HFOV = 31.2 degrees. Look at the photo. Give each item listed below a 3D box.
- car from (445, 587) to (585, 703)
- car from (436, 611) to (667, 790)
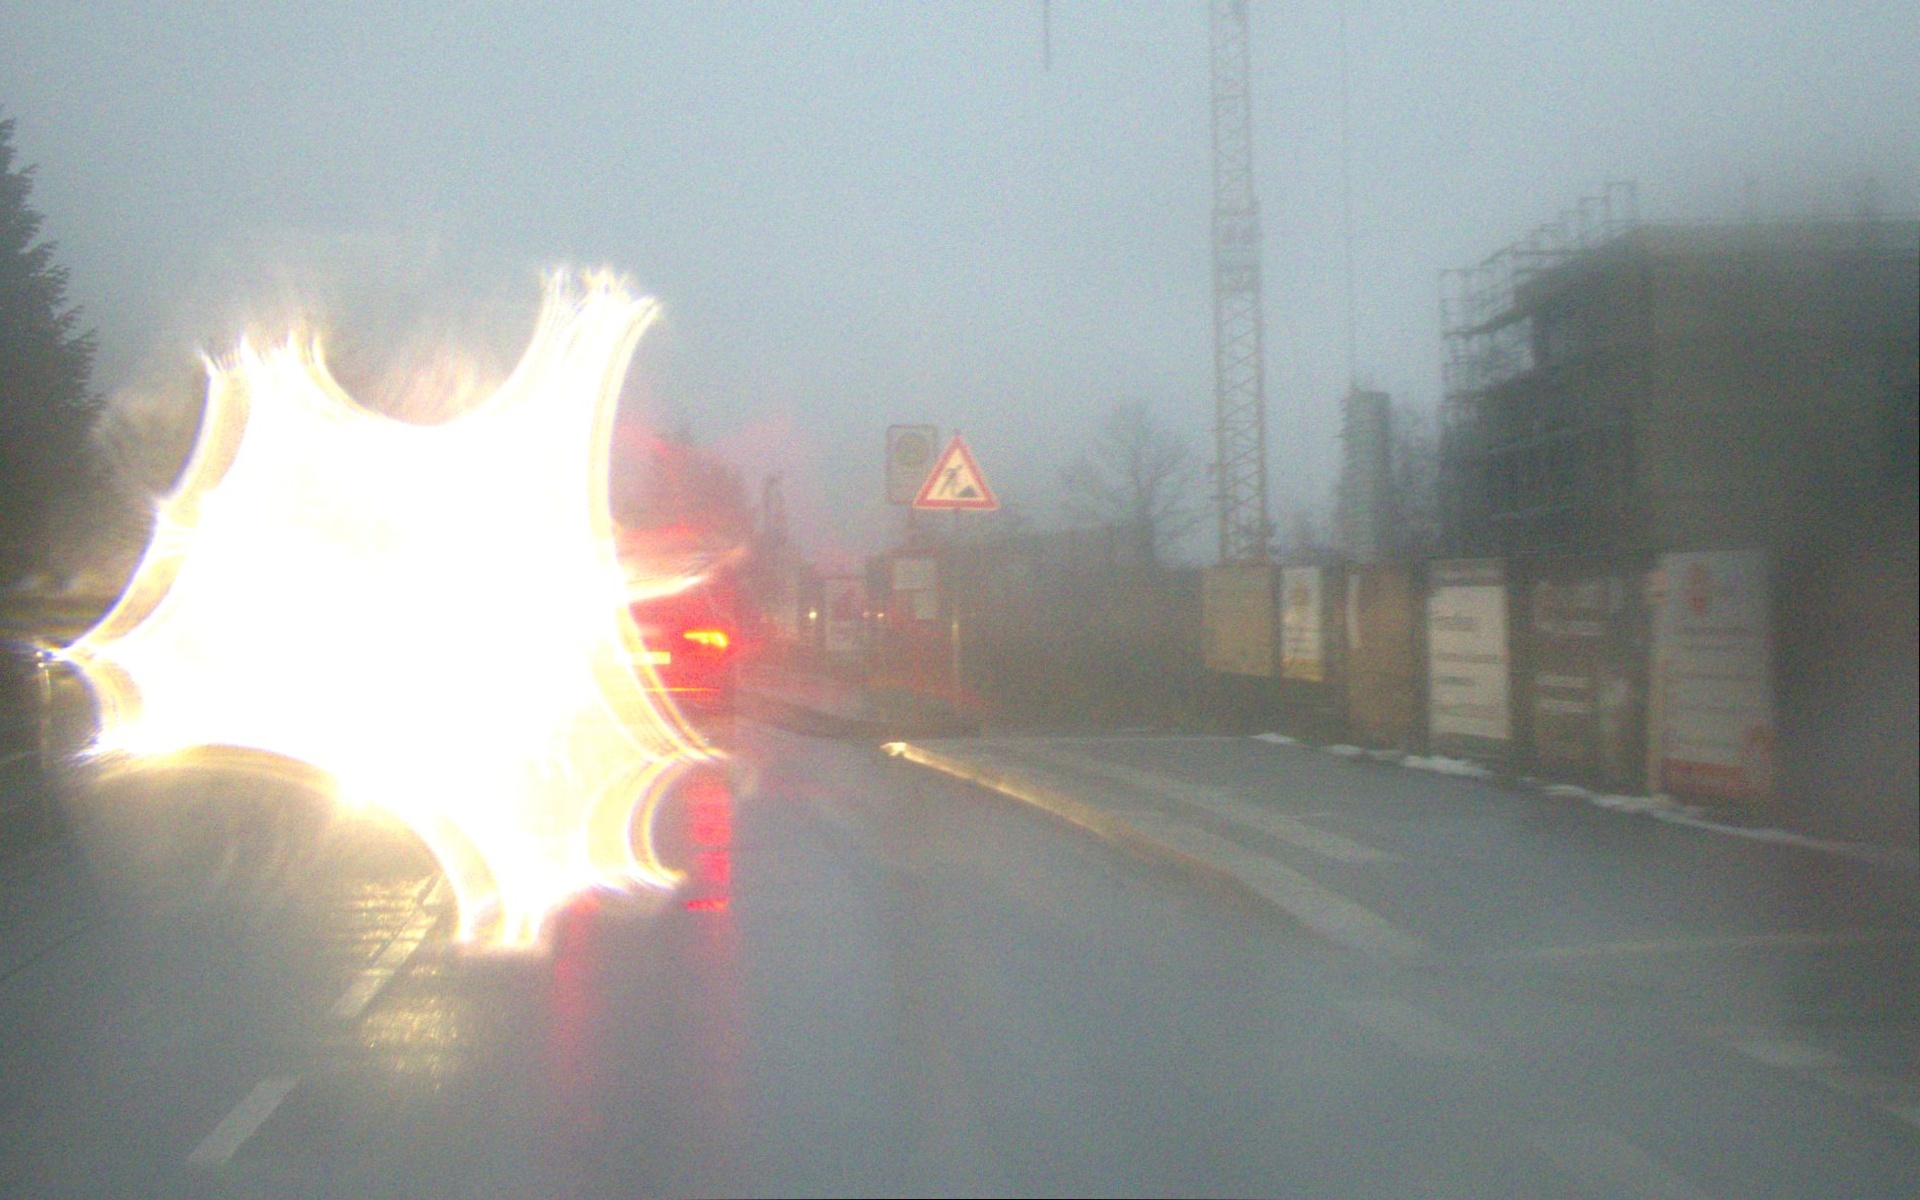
[{"bbox_3d":[-7.752,0.751,59.612,1.993,1.875,4.001,-2,0,-13],"label":"car"},{"bbox_3d":[-4.045,0.941,33.455,2.046,1.567,4.704,-1,-1,-9],"label":"car"}]
